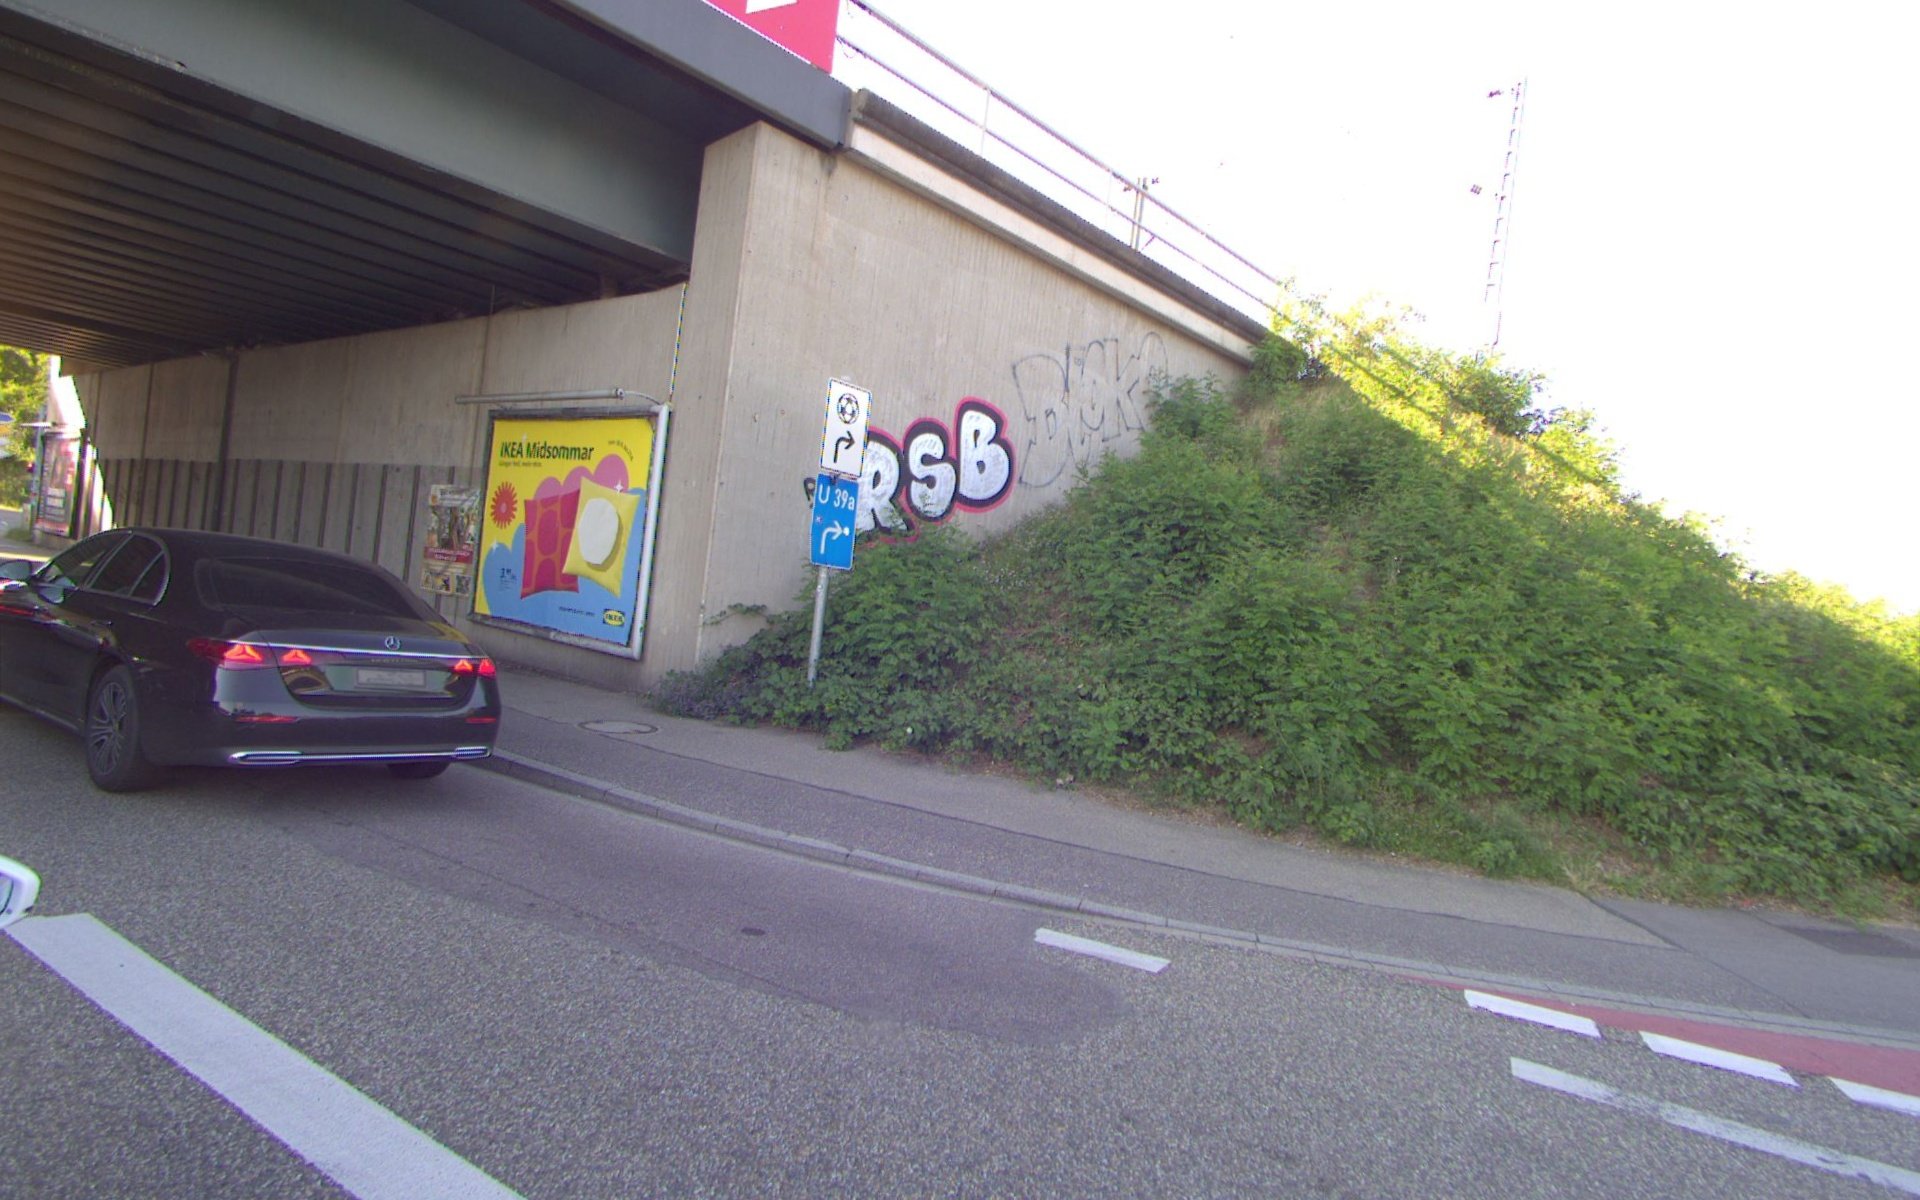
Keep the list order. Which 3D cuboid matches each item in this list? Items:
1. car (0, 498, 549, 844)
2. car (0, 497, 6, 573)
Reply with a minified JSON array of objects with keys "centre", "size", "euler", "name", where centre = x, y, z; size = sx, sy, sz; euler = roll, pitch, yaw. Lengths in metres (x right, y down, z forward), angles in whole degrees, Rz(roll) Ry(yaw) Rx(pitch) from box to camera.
[{"centre":[-4.997,0.268,6.746],"size":[4.530,1.472,1.743],"euler":[7,-1,33],"name":"car"},{"centre":[-13.203,-0.632,12.055],"size":[3.772,1.514,1.772],"euler":[5,0,35],"name":"car"}]
